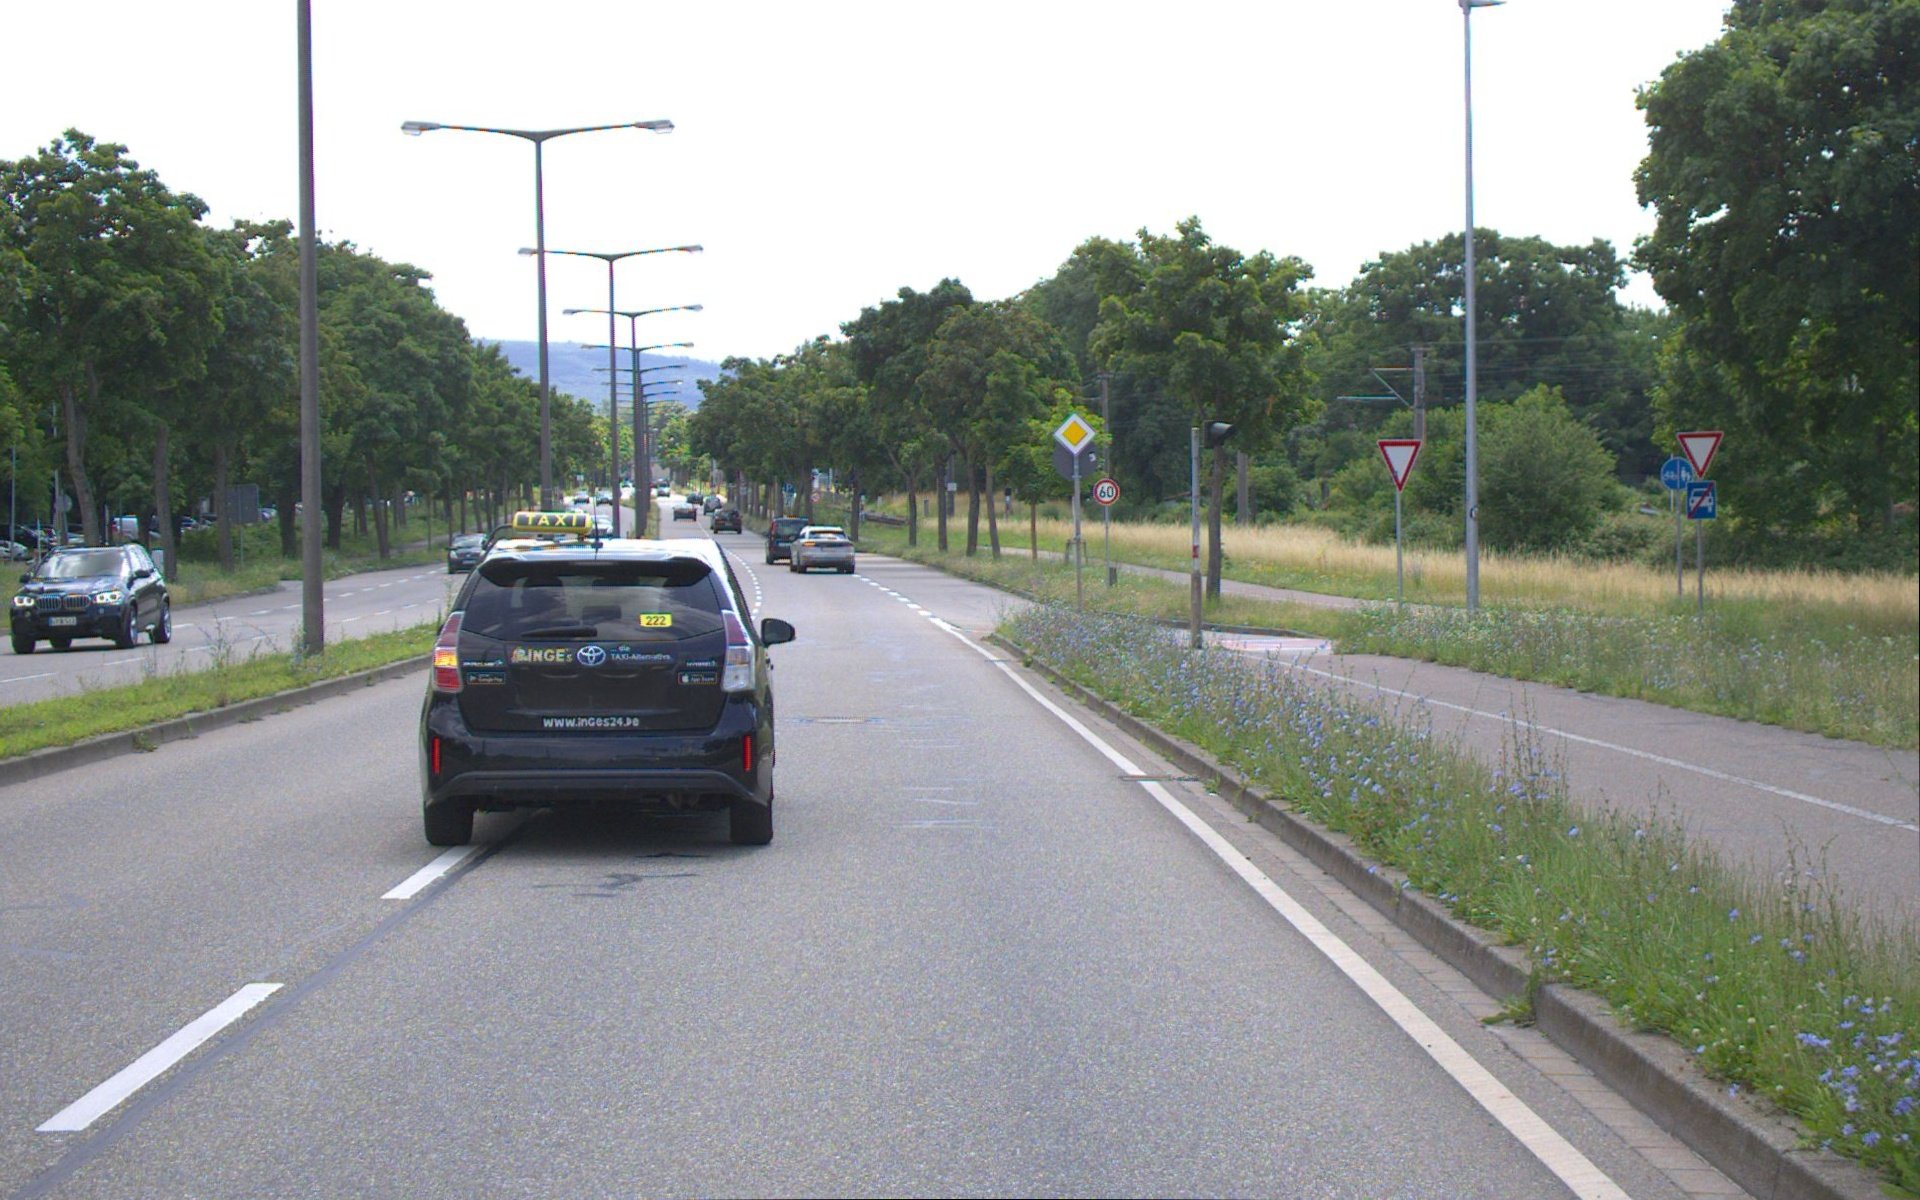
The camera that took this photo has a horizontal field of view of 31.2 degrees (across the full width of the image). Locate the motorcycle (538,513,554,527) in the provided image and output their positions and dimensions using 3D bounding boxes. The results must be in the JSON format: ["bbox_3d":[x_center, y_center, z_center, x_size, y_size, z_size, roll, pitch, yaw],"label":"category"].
[{"bbox_3d":[-23.747,-4.598,197.066,0.751,0.769,2.672,1,2,-4],"label":"motorcycle"}]

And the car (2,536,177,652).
[{"bbox_3d":[-14.494,-0.128,57.509,1.876,1.784,4.729,-3,1,-3],"label":"car"}]

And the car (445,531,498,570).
[{"bbox_3d":[-18.570,-1.887,130.518,1.700,1.422,3.676,-1,1,-12],"label":"car"}]

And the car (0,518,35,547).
[{"bbox_3d":[-49.216,-3.459,175.053,3.785,1.383,1.786,1,2,0],"label":"car"}]

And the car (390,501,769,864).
[{"bbox_3d":[-1.941,0.338,18.371,1.779,1.678,4.001,1,2,-4],"label":"car"}]

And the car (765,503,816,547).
[{"bbox_3d":[-6.711,-2.972,135.905,1.993,1.656,4.001,1,2,-3],"label":"car"}]

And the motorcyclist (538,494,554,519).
[{"bbox_3d":[-23.715,-5.378,196.932,0.827,1.409,1.329,1,2,-4],"label":"motorcyclist"}]

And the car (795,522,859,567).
[{"bbox_3d":[-4.738,-1.987,122.091,1.993,1.503,4.001,1,2,-6],"label":"car"}]

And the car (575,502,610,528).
[{"bbox_3d":[-21.214,-4.918,198.574,1.810,1.393,4.735,-1,2,-4],"label":"car"}]

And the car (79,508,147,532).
[{"bbox_3d":[-52.350,-4.931,212.455,3.785,1.383,1.786,1,2,0],"label":"car"}]
